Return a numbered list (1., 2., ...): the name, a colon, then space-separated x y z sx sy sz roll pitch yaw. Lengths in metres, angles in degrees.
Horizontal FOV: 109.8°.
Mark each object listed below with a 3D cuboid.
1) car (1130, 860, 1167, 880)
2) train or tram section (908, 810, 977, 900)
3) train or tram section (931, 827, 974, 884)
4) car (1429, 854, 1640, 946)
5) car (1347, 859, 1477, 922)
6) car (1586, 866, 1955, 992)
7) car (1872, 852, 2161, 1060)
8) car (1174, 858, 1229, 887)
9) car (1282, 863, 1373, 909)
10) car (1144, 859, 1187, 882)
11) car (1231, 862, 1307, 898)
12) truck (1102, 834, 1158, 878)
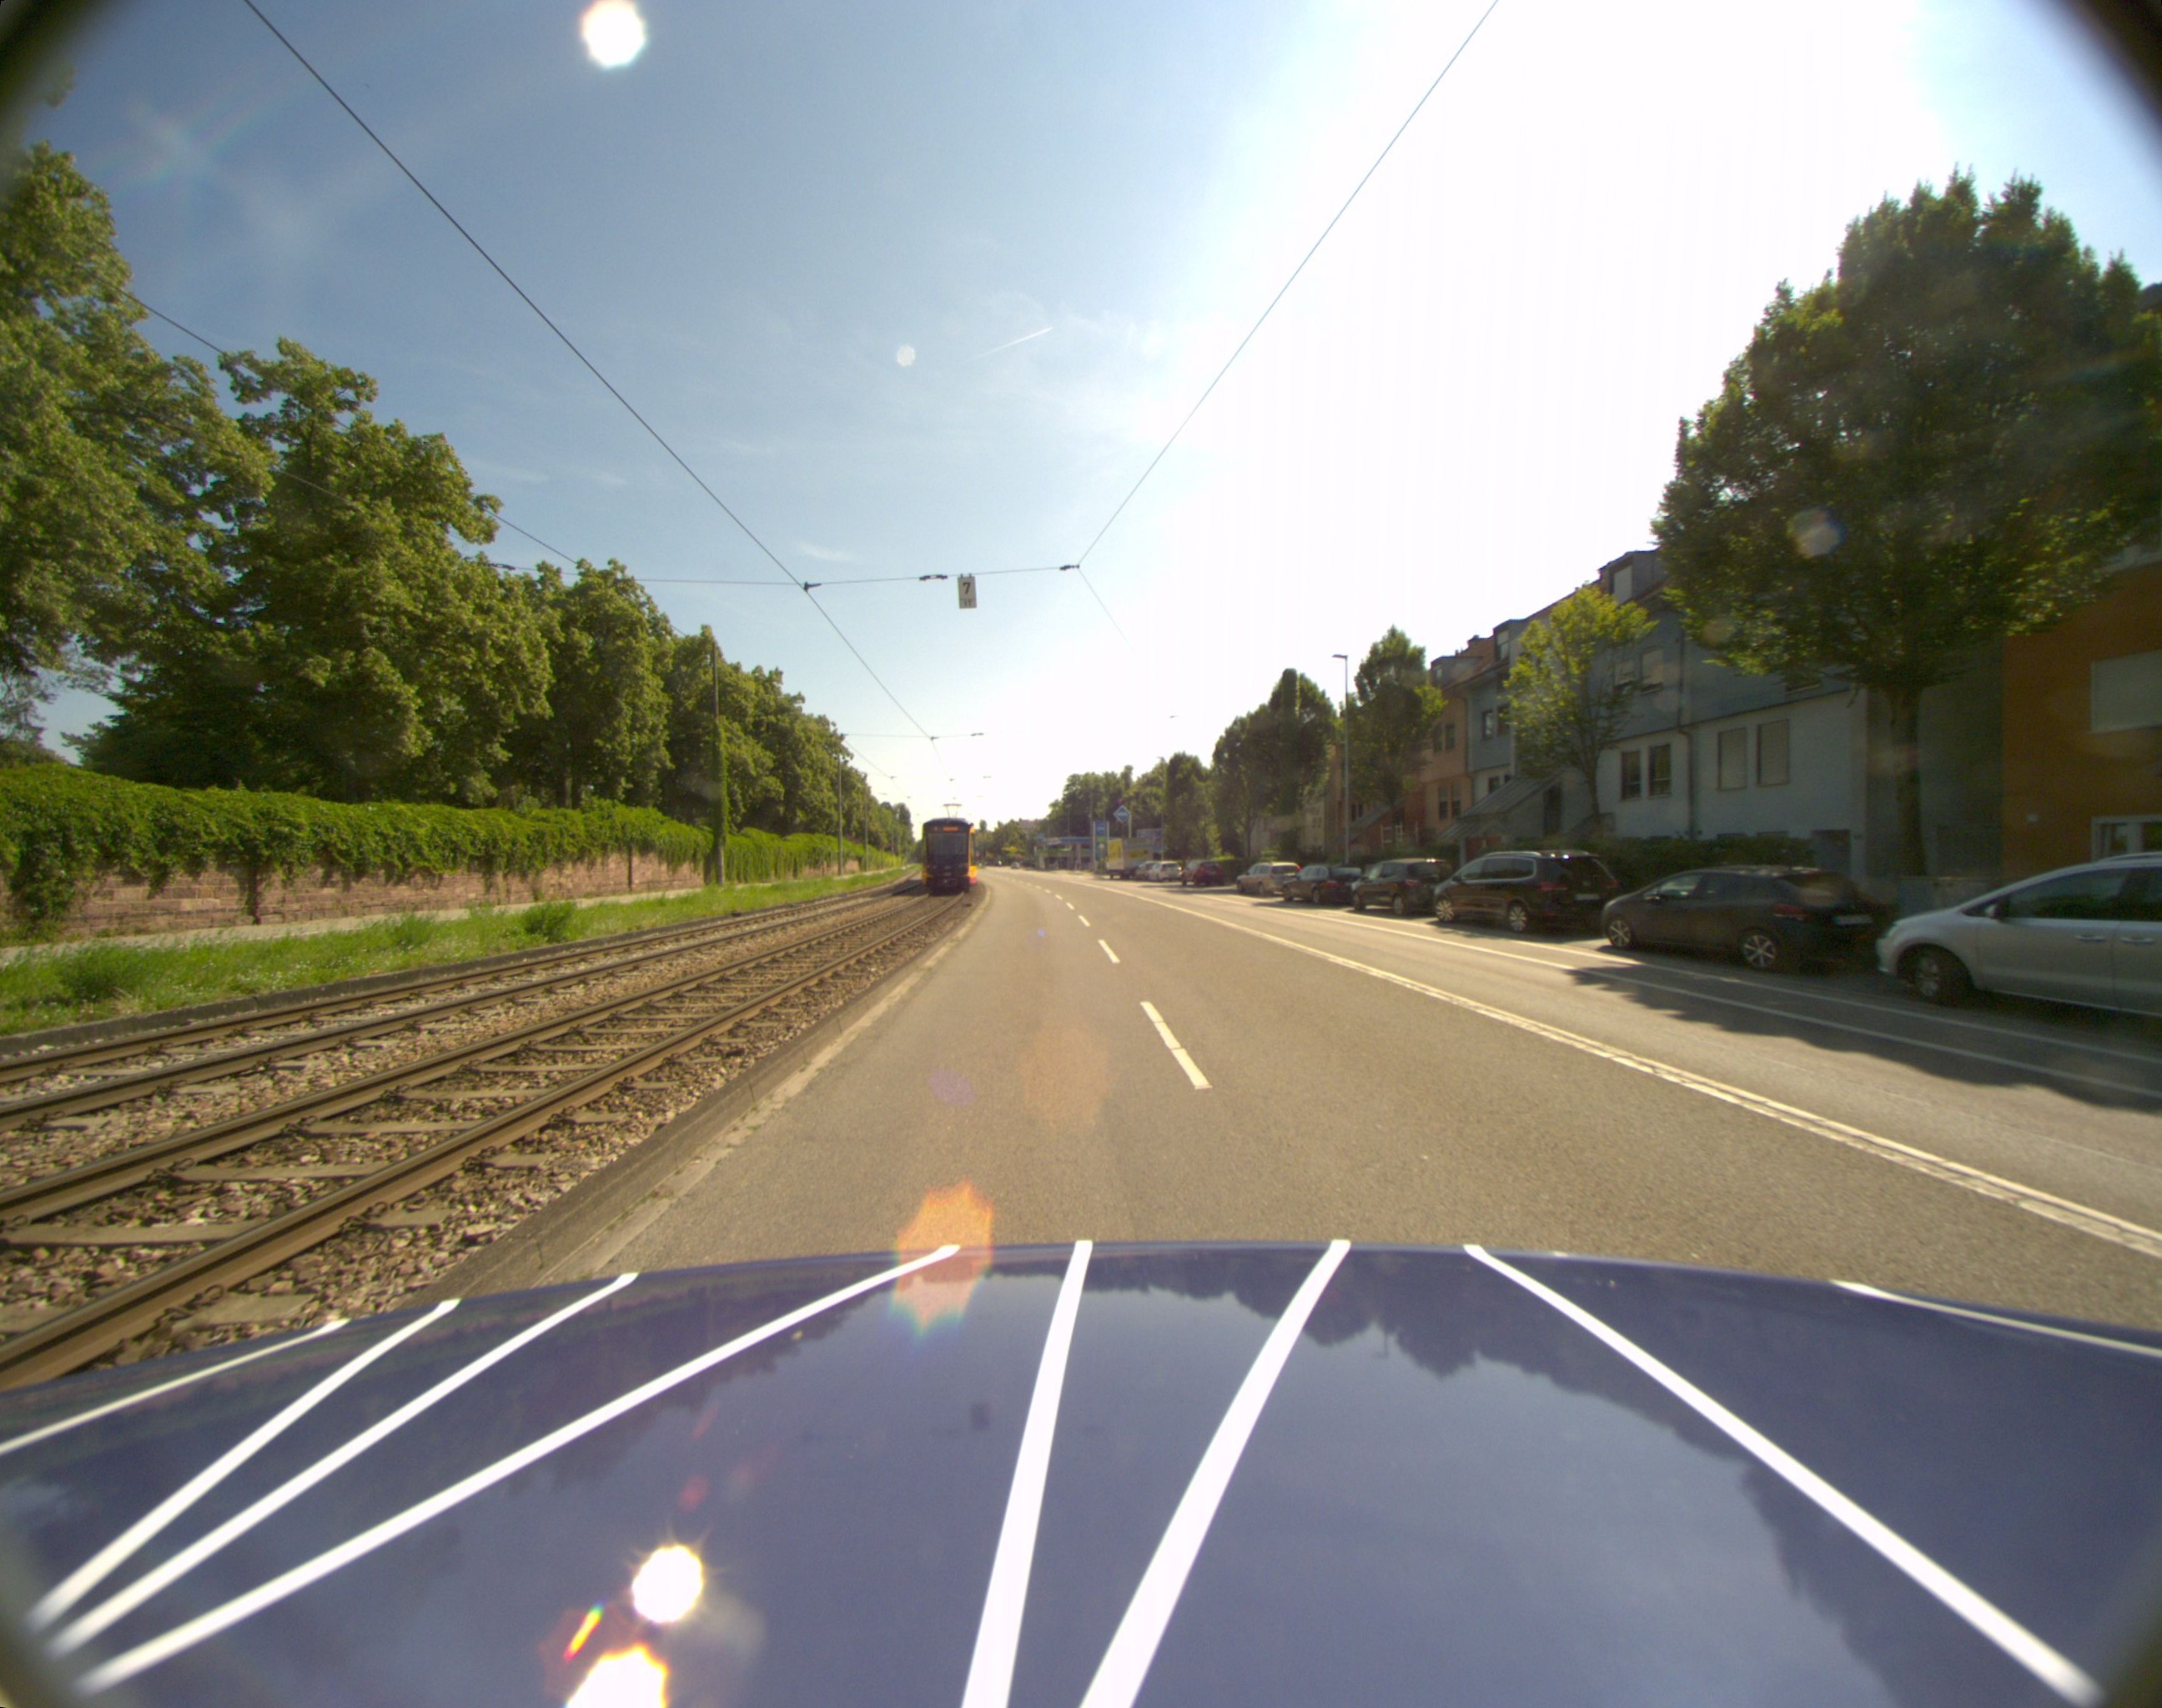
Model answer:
1. car: 5.163 1.205 58.695 1.916 1.469 4.213 -2 0 -8
2. train or tram section: -7.158 0.070 40.982 2.722 3.716 18.864 -1 0 -9
3. train or tram section: -9.927 0.103 59.628 2.722 3.716 18.864 -1 0 -9
4. car: 9.897 0.888 17.062 1.835 1.718 4.348 -2 0 -5
5. car: 9.503 0.977 22.187 1.682 1.598 4.164 -2 0 -5
6. car: 10.353 1.001 11.933 1.872 1.447 4.074 -4 0 -5
7. car: 10.325 0.896 6.714 1.853 1.693 4.540 -4 0 0
8. car: 7.193 1.069 45.995 1.911 1.567 4.928 -2 0 -8
9. car: 8.930 1.112 27.906 1.682 1.461 4.212 -2 0 -5
10. car: 5.927 1.143 53.697 2.040 1.490 4.130 -2 0 -8
11. car: 8.456 1.115 34.657 1.682 1.437 4.834 -2 0 -7
12. truck: 4.095 0.197 66.075 3.165 3.533 8.779 0 0 -8
